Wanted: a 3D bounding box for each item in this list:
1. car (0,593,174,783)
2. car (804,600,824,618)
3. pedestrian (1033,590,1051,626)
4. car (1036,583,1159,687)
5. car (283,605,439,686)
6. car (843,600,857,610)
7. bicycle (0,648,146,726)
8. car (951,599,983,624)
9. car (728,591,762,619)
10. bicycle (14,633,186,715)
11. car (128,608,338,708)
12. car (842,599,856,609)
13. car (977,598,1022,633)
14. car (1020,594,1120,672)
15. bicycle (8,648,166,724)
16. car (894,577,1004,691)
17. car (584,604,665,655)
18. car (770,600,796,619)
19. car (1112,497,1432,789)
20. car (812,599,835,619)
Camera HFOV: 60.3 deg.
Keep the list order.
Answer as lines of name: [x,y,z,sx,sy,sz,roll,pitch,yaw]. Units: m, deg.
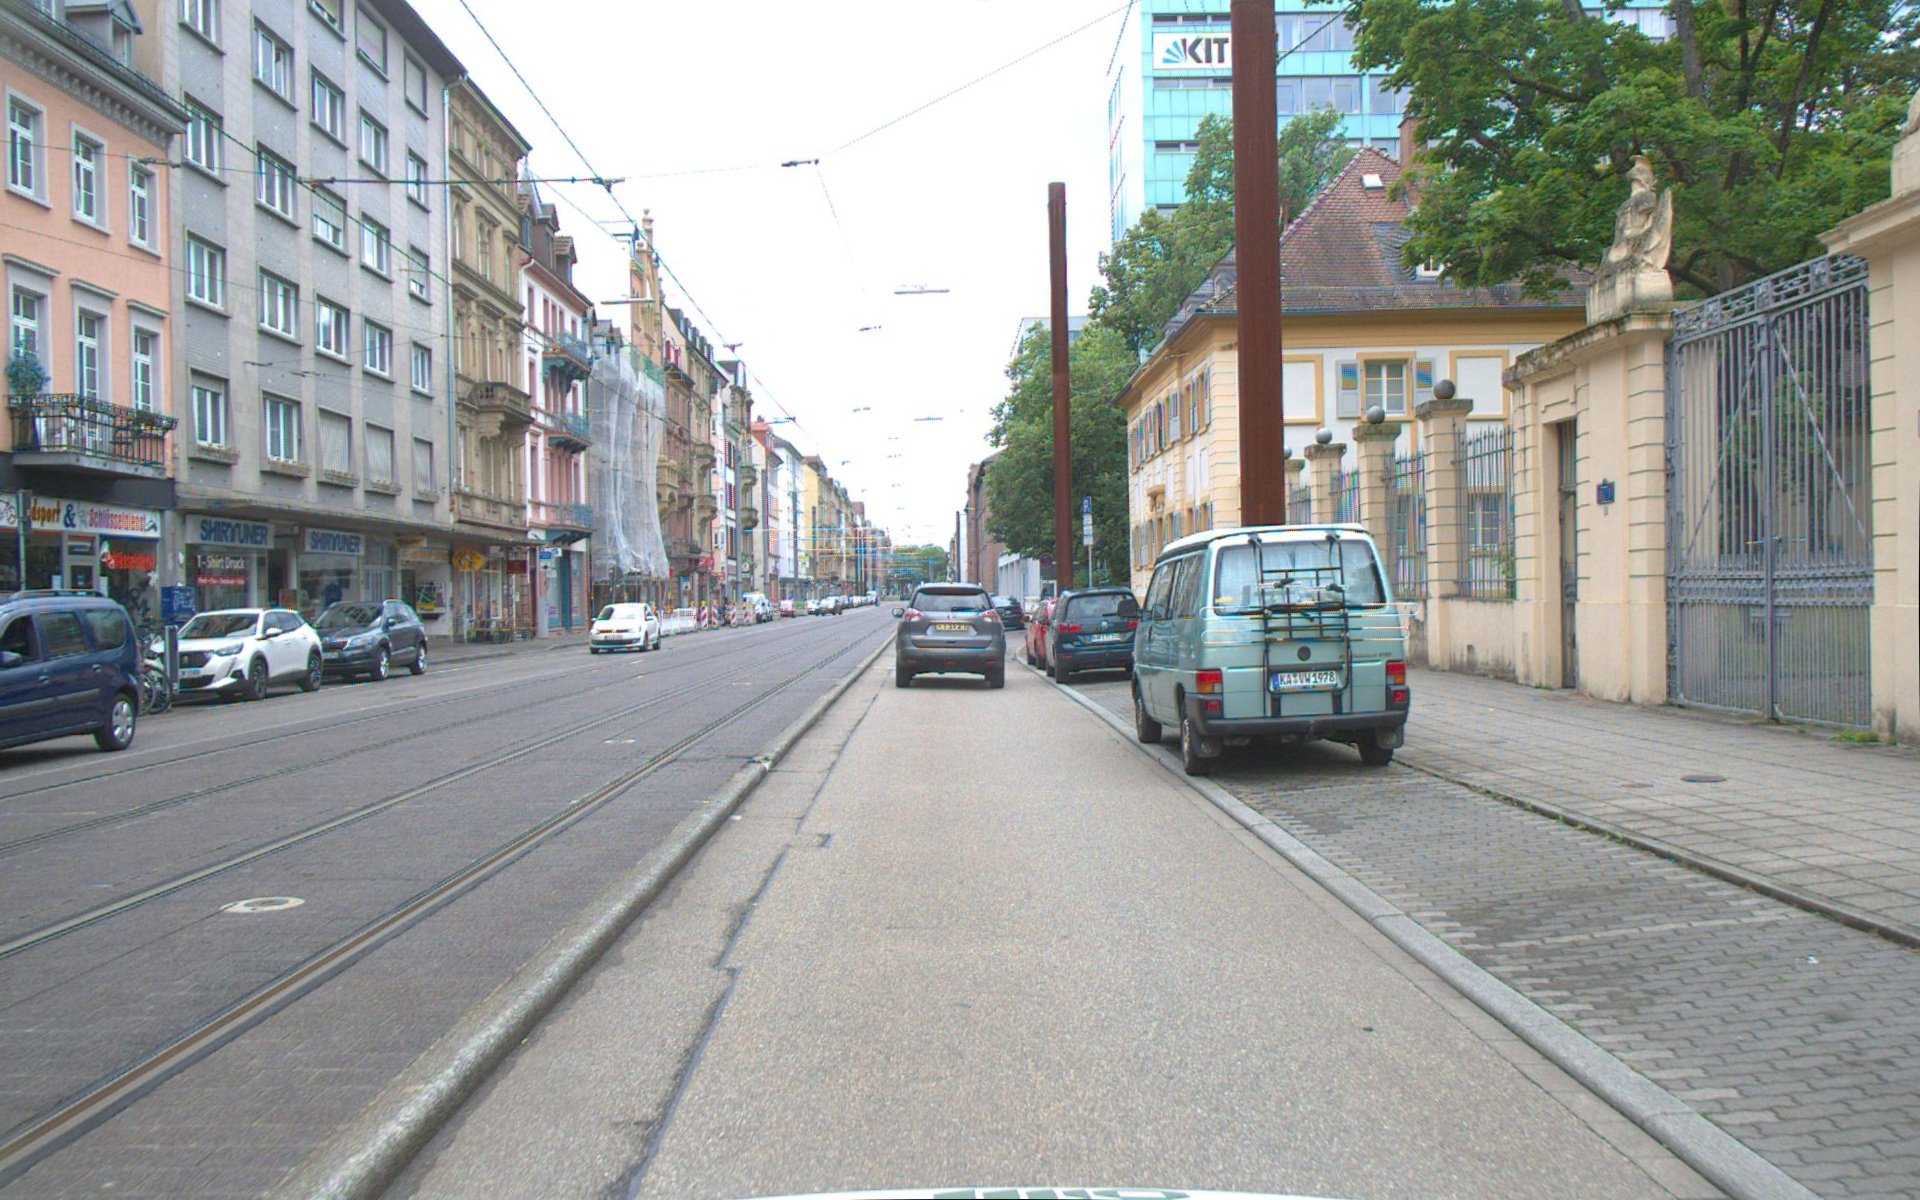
car: [-9.498,0.804,15.881,1.723,1.701,4.613,-1,0,-1]
car: [-14.543,0.900,165.020,1.954,1.664,3.996,-1,-1,-4]
pedestrian: [4.414,0.439,88.830,0.892,1.919,0.846,-1,-1,-2]
car: [2.397,0.587,29.800,1.714,1.623,3.922,-4,0,-1]
car: [-12.487,0.905,34.764,1.740,1.531,4.400,-1,0,-1]
car: [-15.540,0.717,232.847,1.954,1.288,3.996,-1,-1,-4]
bicycle: [-12.477,1.204,23.092,1.929,1.018,0.462,-1,0,-9]
car: [0.365,0.665,96.975,1.740,1.445,4.134,-1,0,-1]
car: [-14.101,0.365,108.734,1.954,1.736,3.996,-1,-1,-4]
bicycle: [-12.739,1.086,24.543,2.189,1.146,0.503,-1,0,-9]
car: [-12.403,0.940,28.542,1.740,1.531,4.400,-1,0,-1]
car: [-15.929,0.598,237.897,1.954,1.288,3.996,-1,-1,-4]
car: [1.677,0.657,71.090,1.740,1.445,4.134,-1,0,-1]
car: [2.312,0.676,35.647,1.714,1.466,3.922,-4,0,-1]
bicycle: [-12.498,1.221,23.715,1.929,1.018,0.462,-1,0,-9]
car: [-0.214,0.538,28.103,1.714,1.786,3.922,1,0,-1]
car: [-10.051,0.850,49.774,1.653,1.445,4.134,-1,0,-1]
car: [-14.379,0.769,134.526,1.954,1.490,3.996,-1,-1,-4]
car: [2.661,0.330,15.376,1.814,2.151,4.983,-4,0,-1]
car: [-12.009,0.799,145.830,1.954,1.664,3.996,-1,-1,-4]
